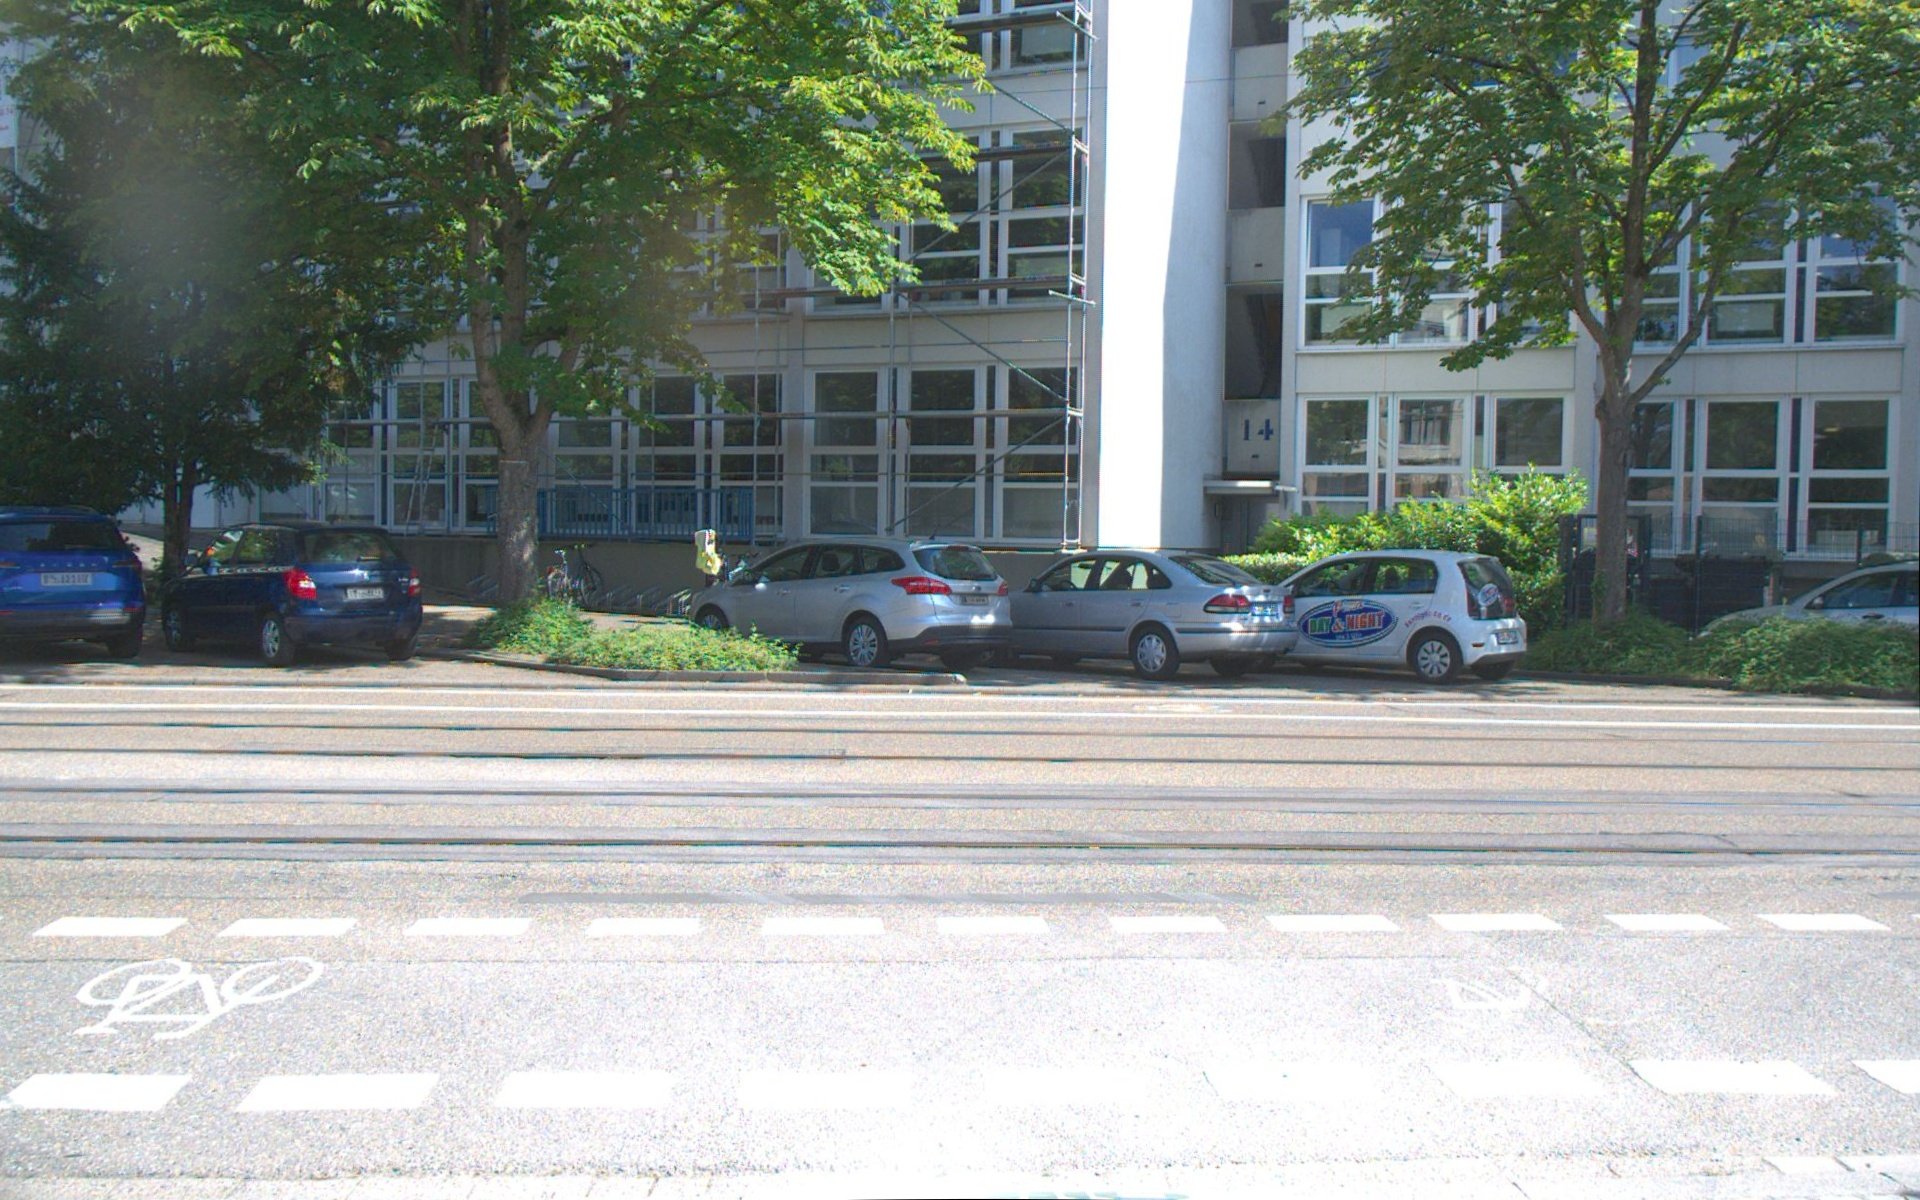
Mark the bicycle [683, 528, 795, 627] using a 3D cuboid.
[{"bbox_3d":[-3.428,-0.368,25.826,0.648,1.478,2.088,2,2,27],"label":"bicycle"}]

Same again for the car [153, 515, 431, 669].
[{"bbox_3d":[-7.531,-0.154,18.535,3.396,1.557,1.567,3,3,42],"label":"car"}]

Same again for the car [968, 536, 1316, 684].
[{"bbox_3d":[2.051,0.043,19.338,3.878,1.511,1.602,3,3,44],"label":"car"}]

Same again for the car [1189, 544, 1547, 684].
[{"bbox_3d":[4.783,0.097,19.723,3.876,1.512,1.603,1,2,43],"label":"car"}]

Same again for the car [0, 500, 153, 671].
[{"bbox_3d":[-10.536,-0.246,18.343,1.767,1.650,3.883,-2,5,-44],"label":"car"}]

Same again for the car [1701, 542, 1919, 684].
[{"bbox_3d":[11.463,0.152,20.053,4.262,1.632,1.551,2,2,39],"label":"car"}]

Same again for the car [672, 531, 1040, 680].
[{"bbox_3d":[-1.312,-0.017,19.395,4.356,1.511,1.774,3,3,42],"label":"car"}]

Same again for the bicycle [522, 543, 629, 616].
[{"bbox_3d":[-6.148,-0.350,26.584,0.725,1.104,2.205,1,2,15],"label":"bicycle"}]
